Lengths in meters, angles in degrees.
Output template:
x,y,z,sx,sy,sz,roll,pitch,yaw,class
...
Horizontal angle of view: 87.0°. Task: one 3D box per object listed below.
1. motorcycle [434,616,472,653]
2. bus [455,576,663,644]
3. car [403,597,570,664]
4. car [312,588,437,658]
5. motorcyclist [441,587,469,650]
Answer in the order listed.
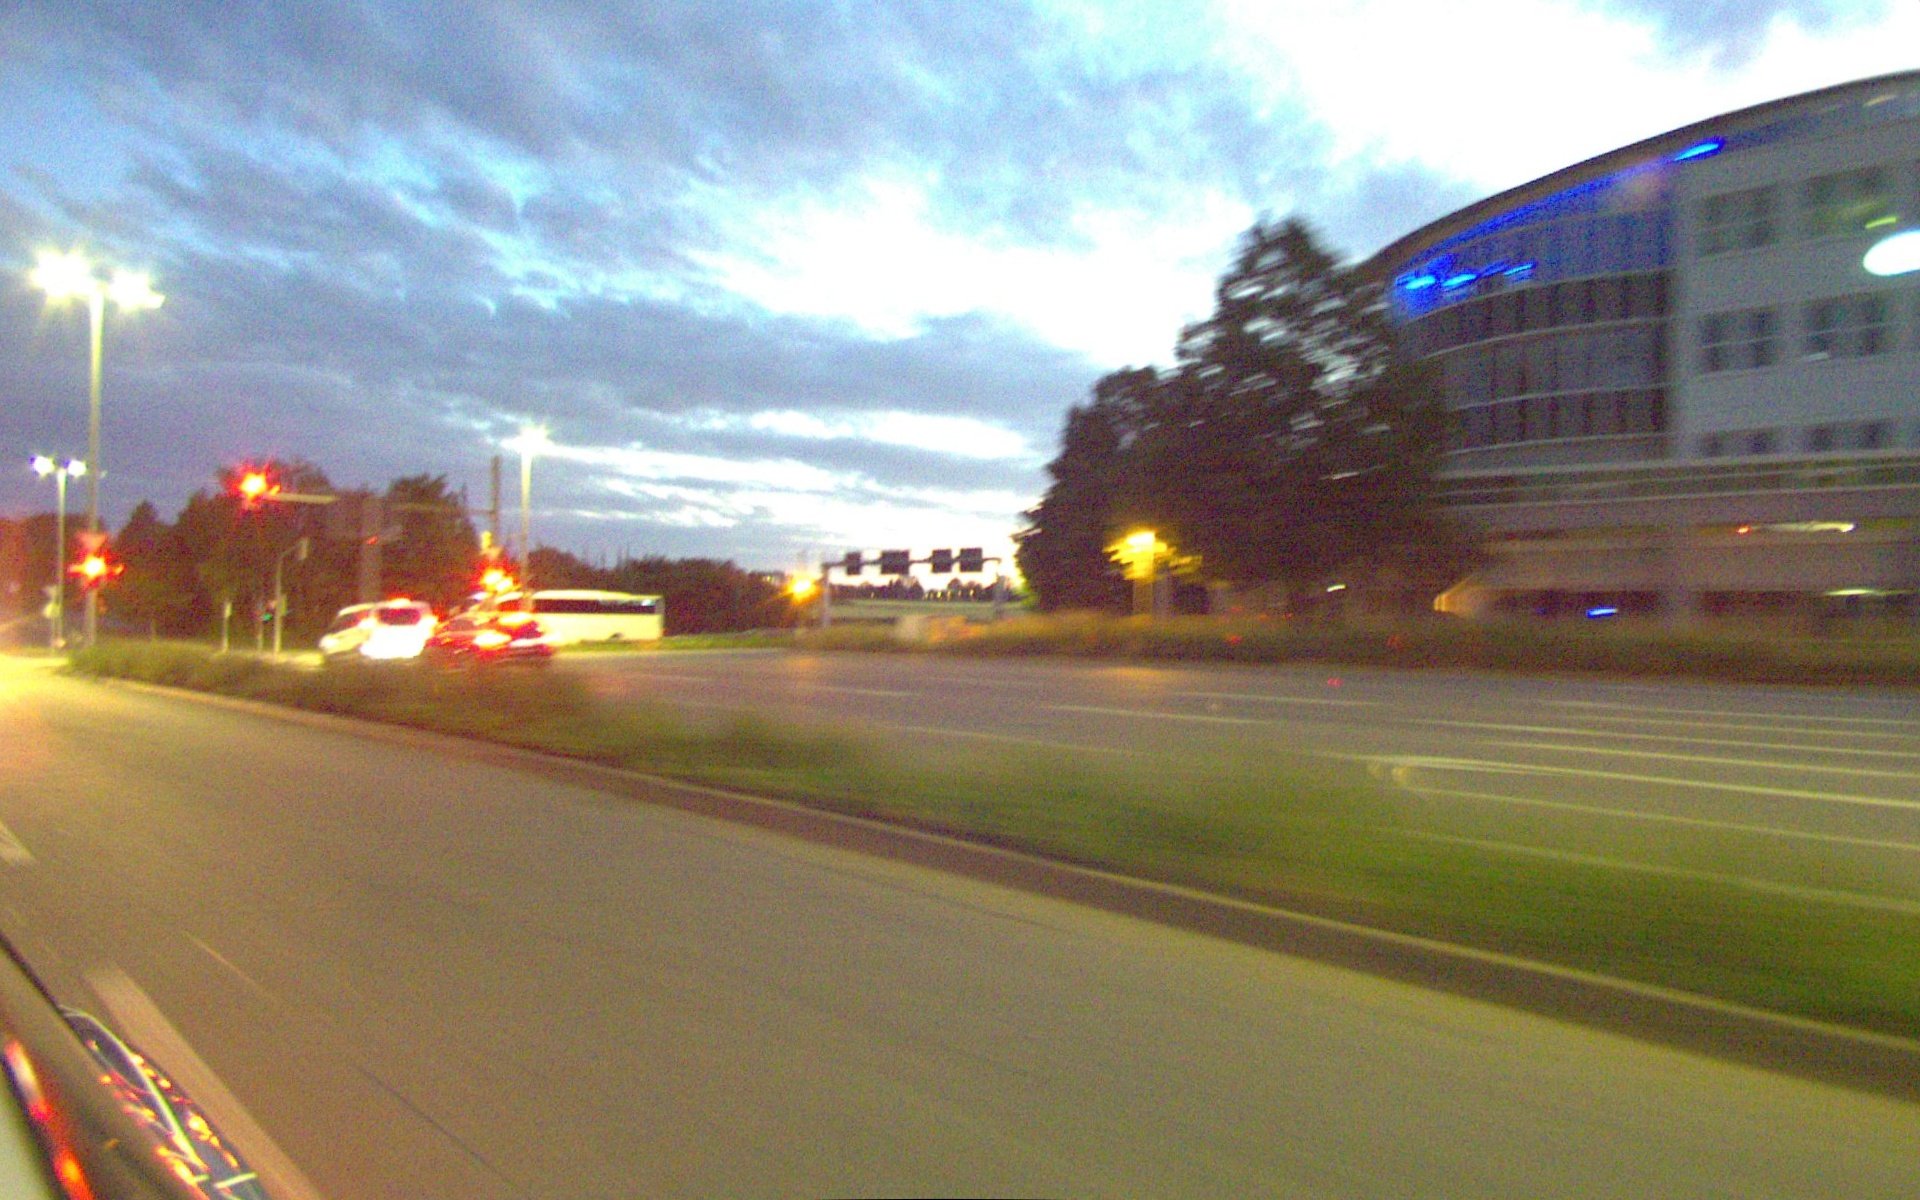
x,y,z,sx,sy,sz,roll,pitch,yaw,class
-16.665,1.130,33.267,0.663,1.172,1.810,1,-2,-42,motorcycle
-24.381,0.659,62.466,2.615,3.819,12.104,-3,-2,42,bus
-11.161,0.687,23.700,4.837,1.408,1.851,-1,-1,43,car
-16.876,0.669,29.067,4.775,1.828,1.823,-2,-2,44,car
-16.518,0.600,33.106,0.626,2.029,0.769,1,-2,-42,motorcyclist
